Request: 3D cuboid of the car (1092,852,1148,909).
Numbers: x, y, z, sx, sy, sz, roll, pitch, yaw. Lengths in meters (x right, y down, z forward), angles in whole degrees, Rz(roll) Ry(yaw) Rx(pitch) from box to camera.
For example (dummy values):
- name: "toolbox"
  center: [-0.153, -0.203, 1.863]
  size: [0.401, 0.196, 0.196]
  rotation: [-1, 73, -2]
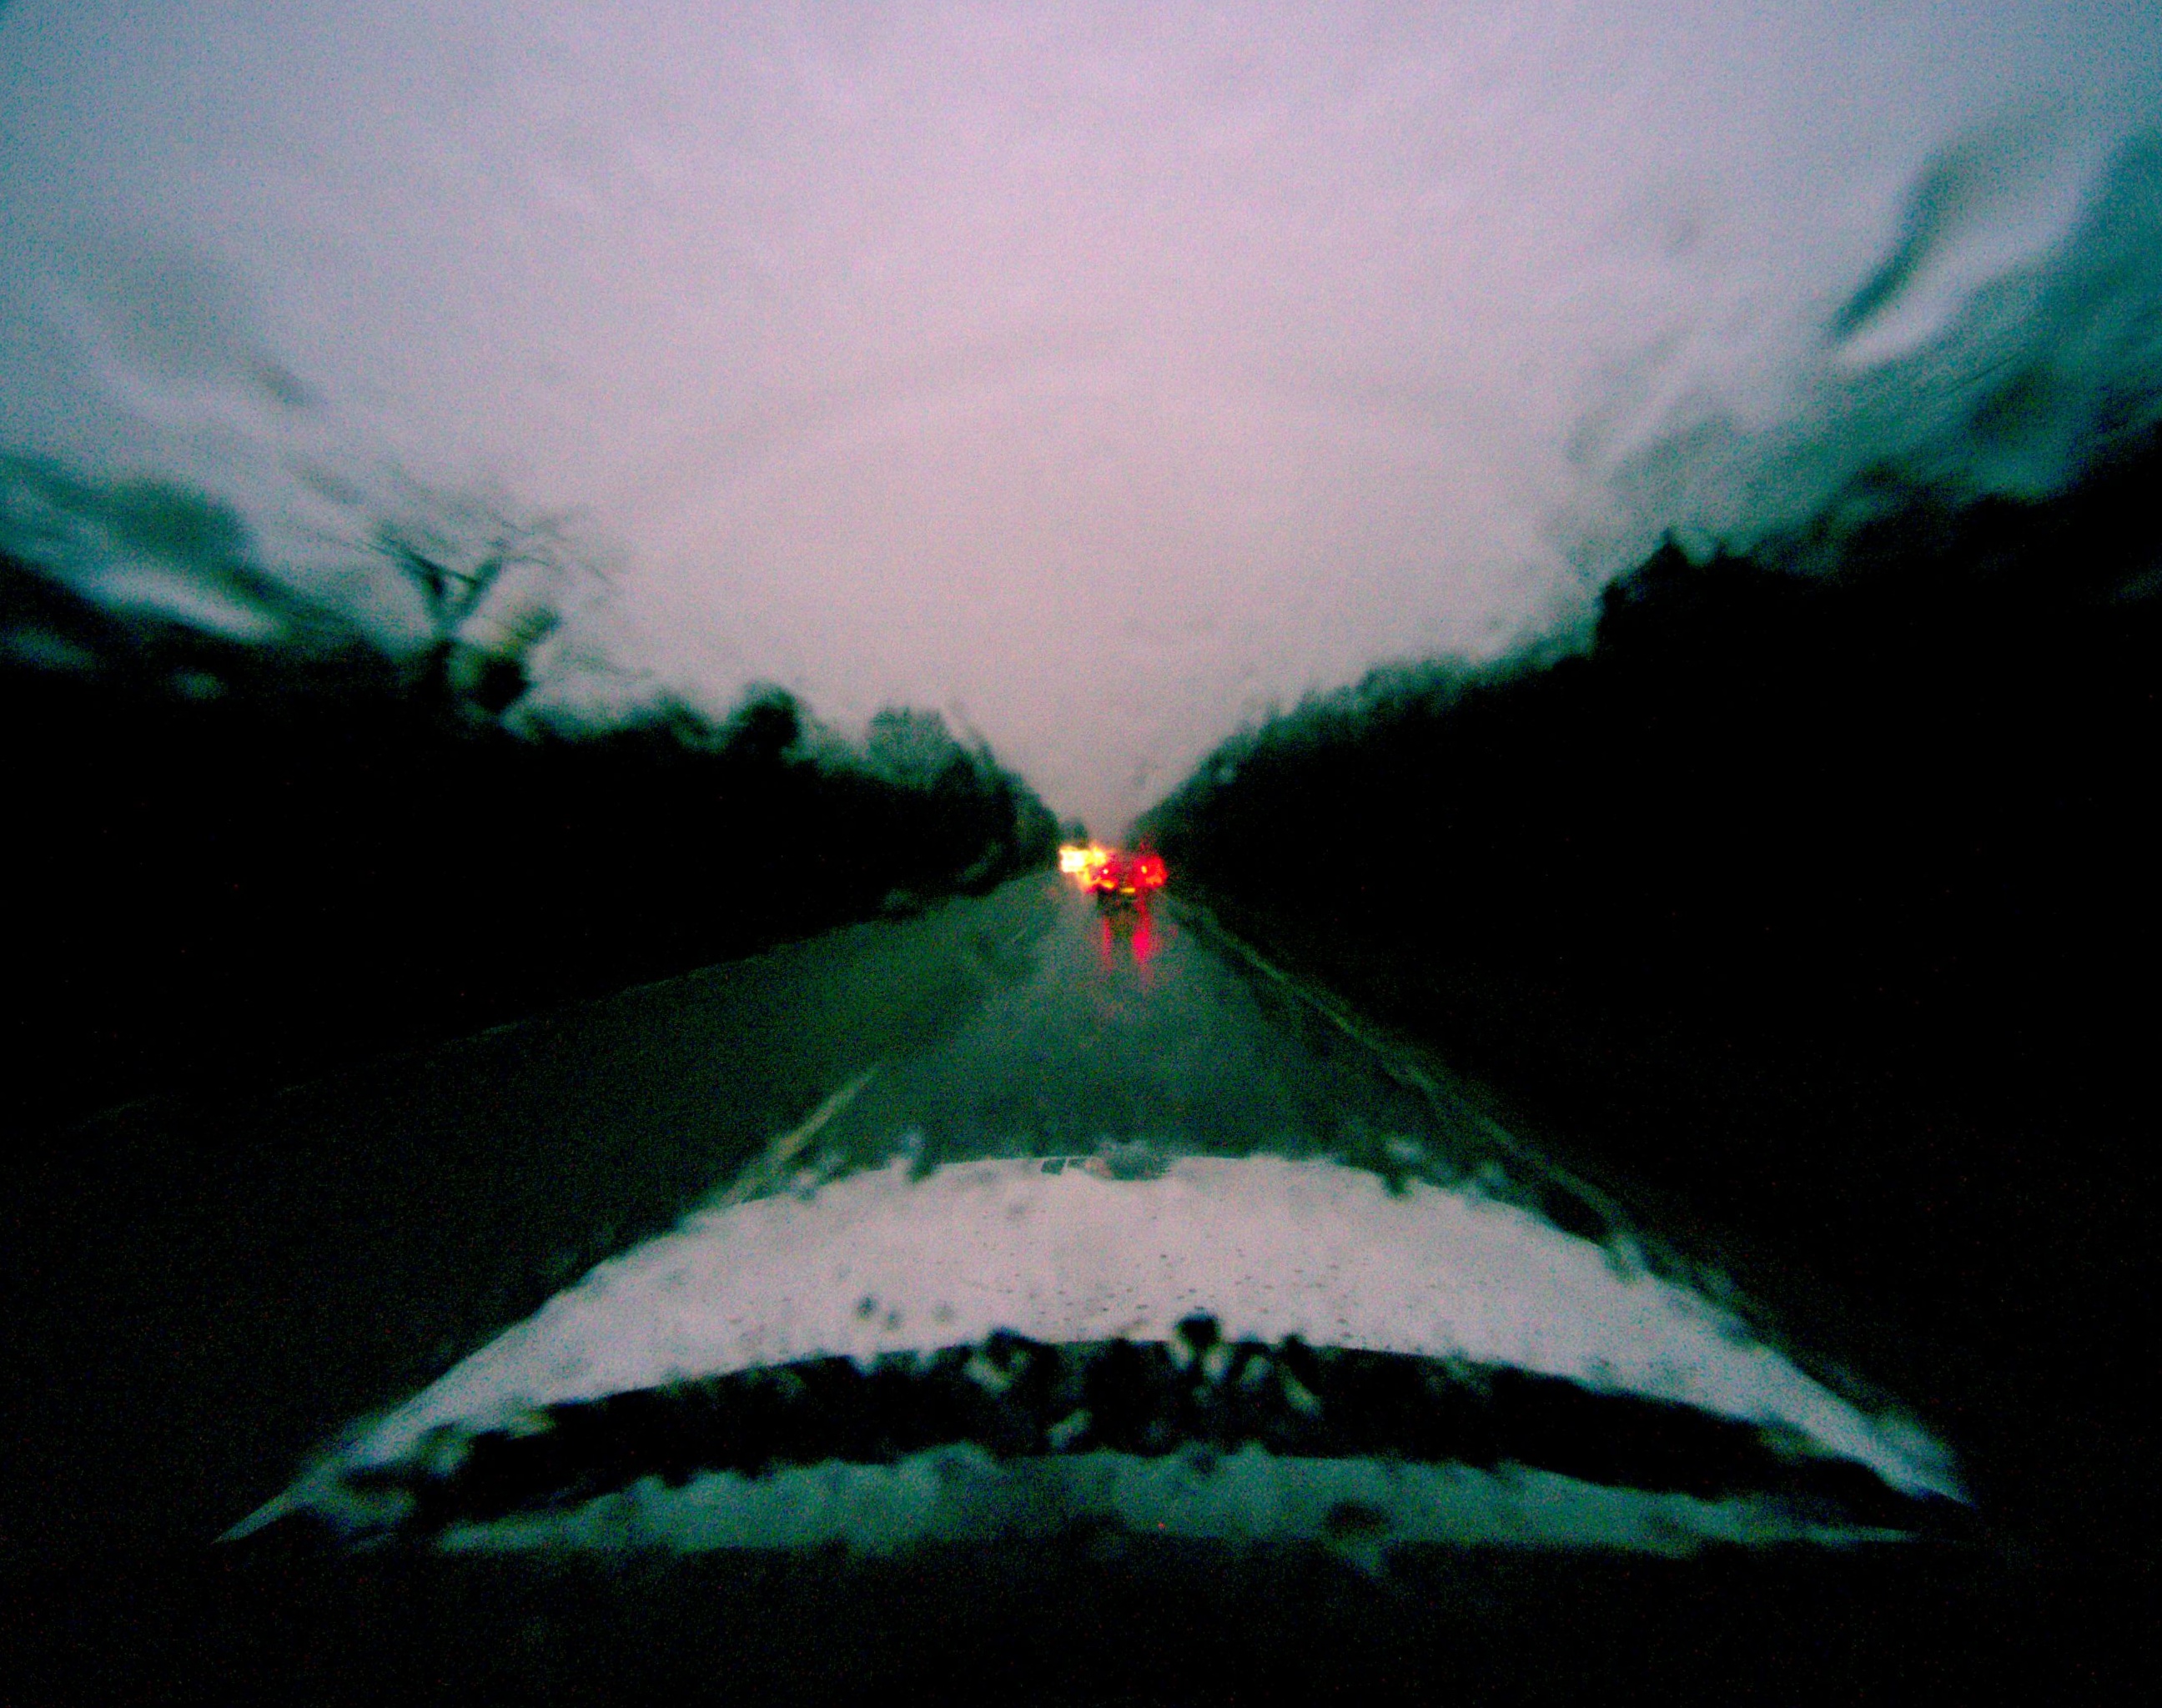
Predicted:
- name: "car"
  center: [1.219, 0.794, 25.931]
  size: [1.642, 1.672, 3.515]
  rotation: [-1, 0, 2]

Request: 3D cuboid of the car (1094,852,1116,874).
- name: "car"
  center: [1.972, 0.715, 66.495]
  size: [1.727, 1.779, 4.001]
  rotation: [-1, 0, 1]
